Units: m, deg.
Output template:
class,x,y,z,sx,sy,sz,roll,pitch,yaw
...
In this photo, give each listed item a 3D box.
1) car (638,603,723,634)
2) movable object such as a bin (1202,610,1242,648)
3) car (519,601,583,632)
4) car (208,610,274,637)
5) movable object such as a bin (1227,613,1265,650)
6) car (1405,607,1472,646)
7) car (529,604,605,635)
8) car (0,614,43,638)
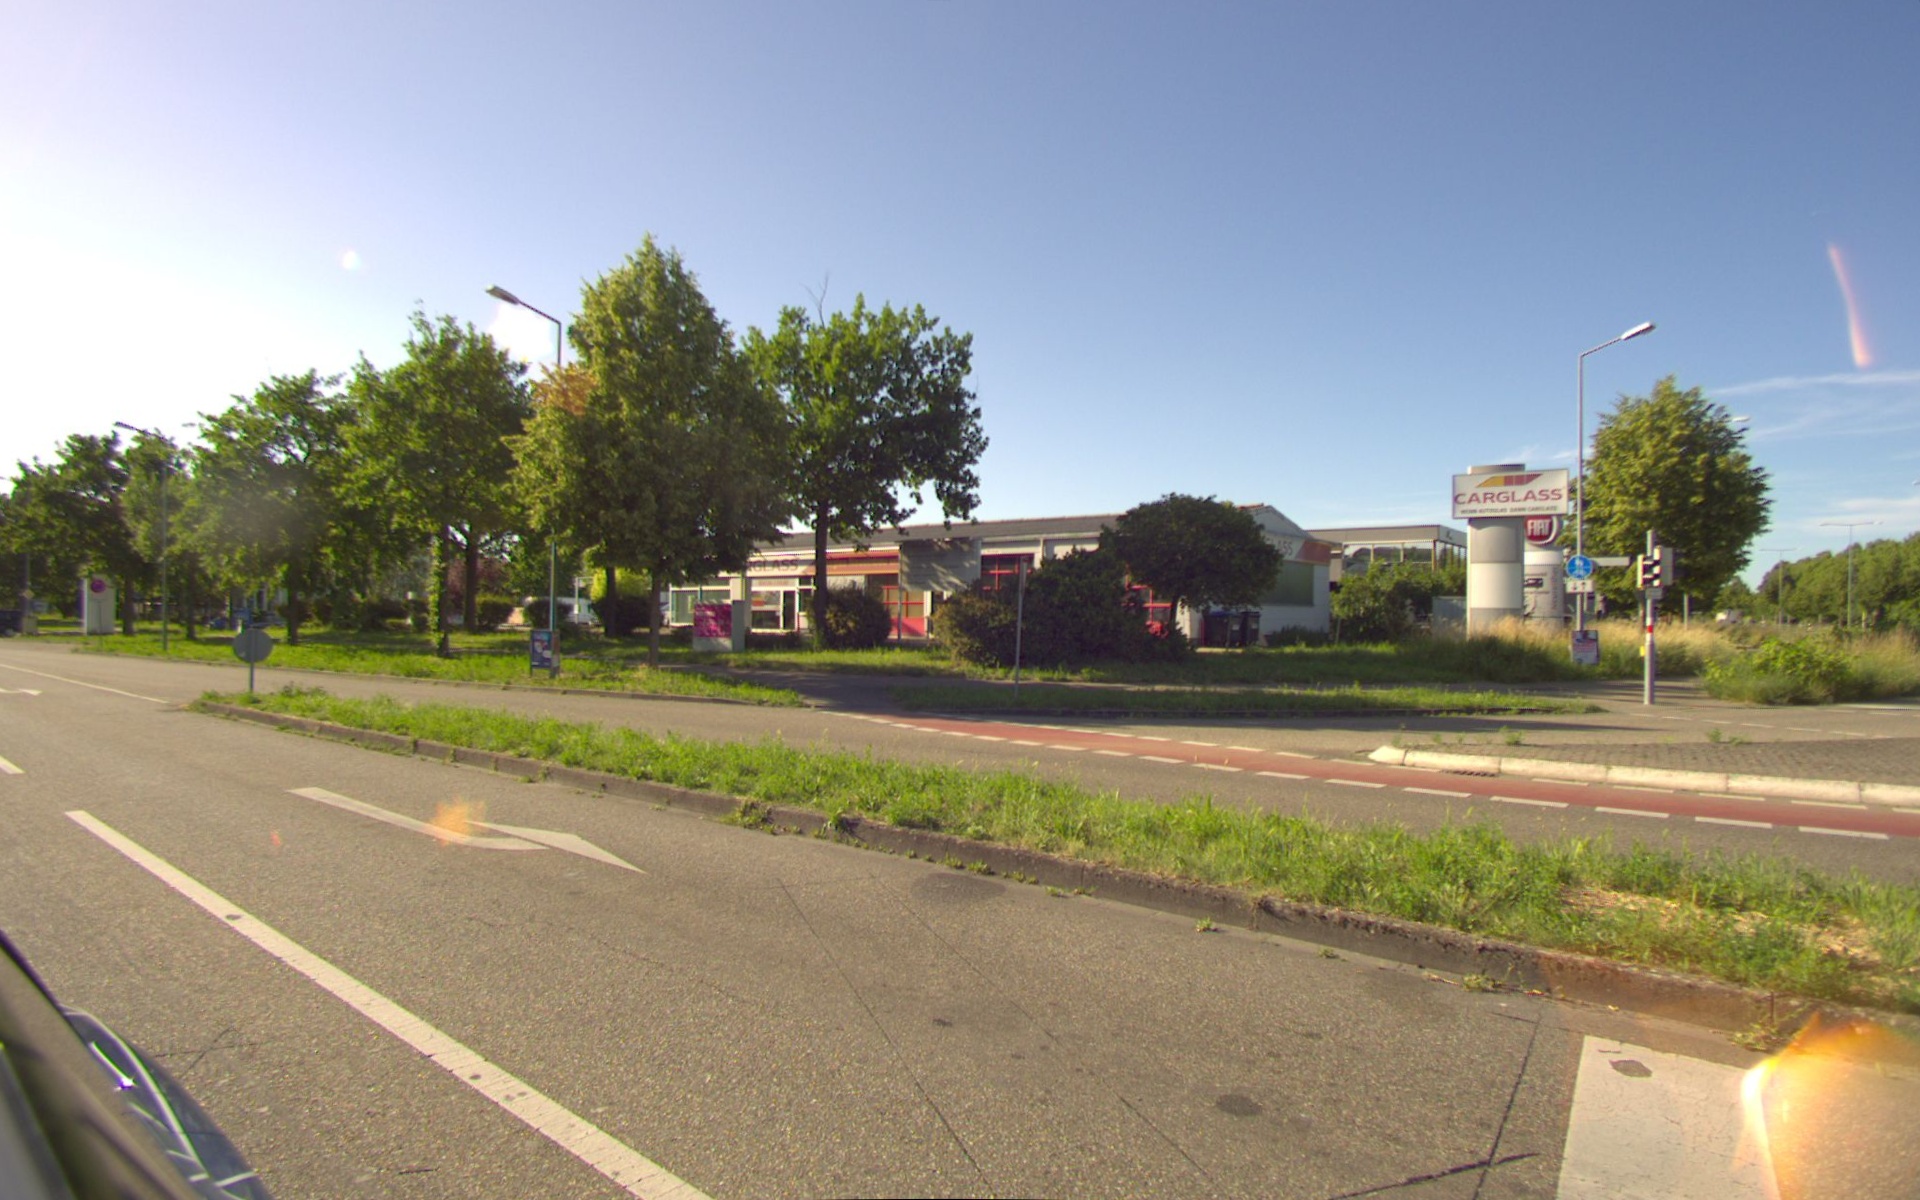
class,x,y,z,sx,sy,sz,roll,pitch,yaw
car,-15.654,0.988,56.847,1.995,1.599,4.186,-1,0,39
movable object such as a bin,9.287,1.021,35.803,0.992,1.308,1.116,-1,-2,40
car,-30.996,1.253,76.728,1.775,2.234,4.161,-1,-1,38
car,-55.213,1.829,77.740,3.938,2.029,2.003,2,-2,-41
movable object such as a bin,10.541,1.150,37.301,0.992,1.308,1.116,-1,-2,40
car,23.048,1.236,48.680,1.998,1.741,3.947,-1,0,40
car,-26.828,1.297,69.214,4.425,1.960,2.000,-1,0,-43
car,-61.771,1.655,65.033,4.152,1.497,1.779,1,-1,-44
